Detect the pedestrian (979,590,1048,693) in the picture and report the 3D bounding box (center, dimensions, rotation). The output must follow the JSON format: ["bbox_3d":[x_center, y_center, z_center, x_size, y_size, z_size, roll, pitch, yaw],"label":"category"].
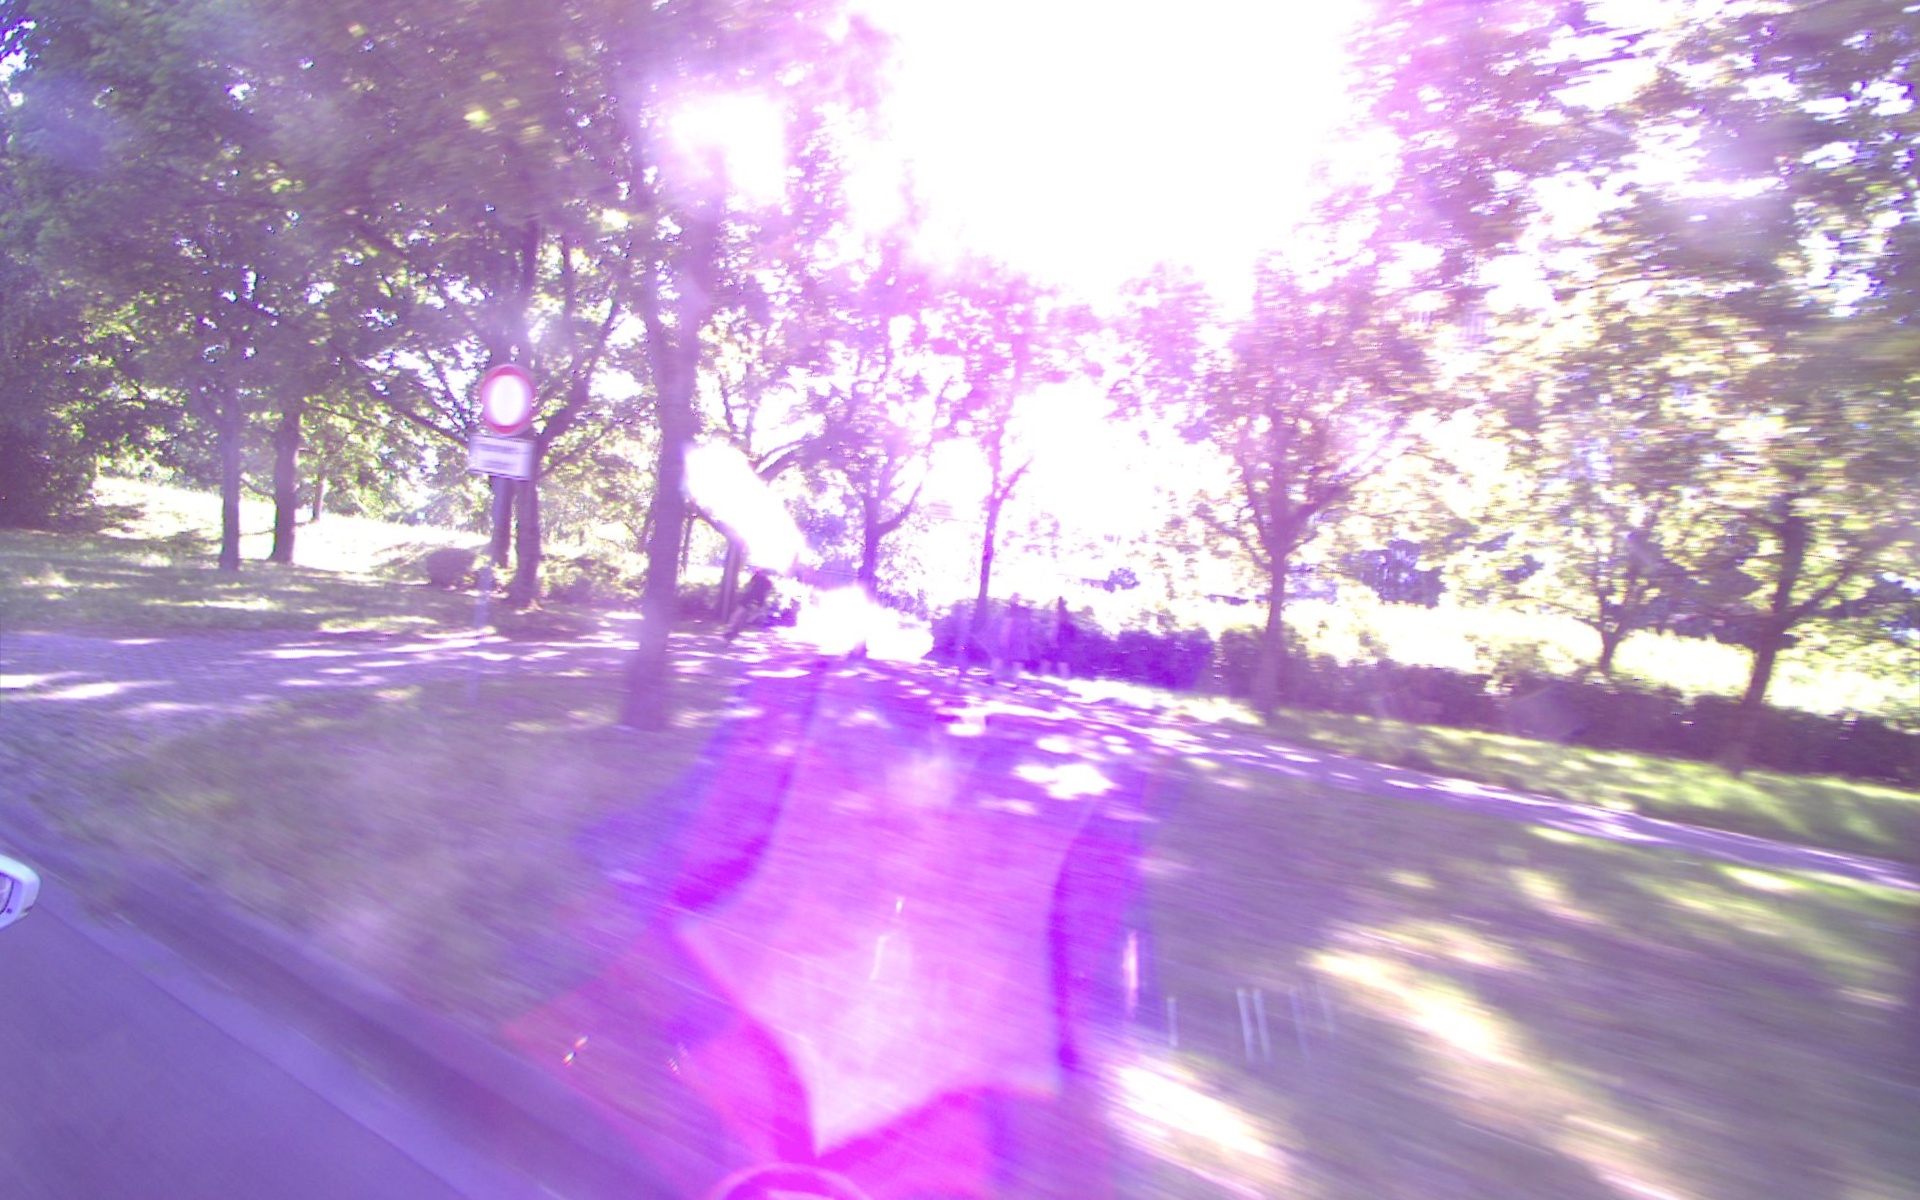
[{"bbox_3d":[0.904,0.702,17.058,0.832,1.642,0.546,7,1,41],"label":"pedestrian"}]

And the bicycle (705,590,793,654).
[{"bbox_3d":[-3.965,0.423,19.139,0.782,1.060,2.144,7,0,10],"label":"bicycle"}]

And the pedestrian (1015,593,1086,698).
[{"bbox_3d":[1.567,0.786,17.491,0.832,1.712,0.635,7,1,41],"label":"pedestrian"}]

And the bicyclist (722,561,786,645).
[{"bbox_3d":[-3.916,0.066,19.144,0.777,1.468,0.845,7,0,10],"label":"bicyclist"}]
